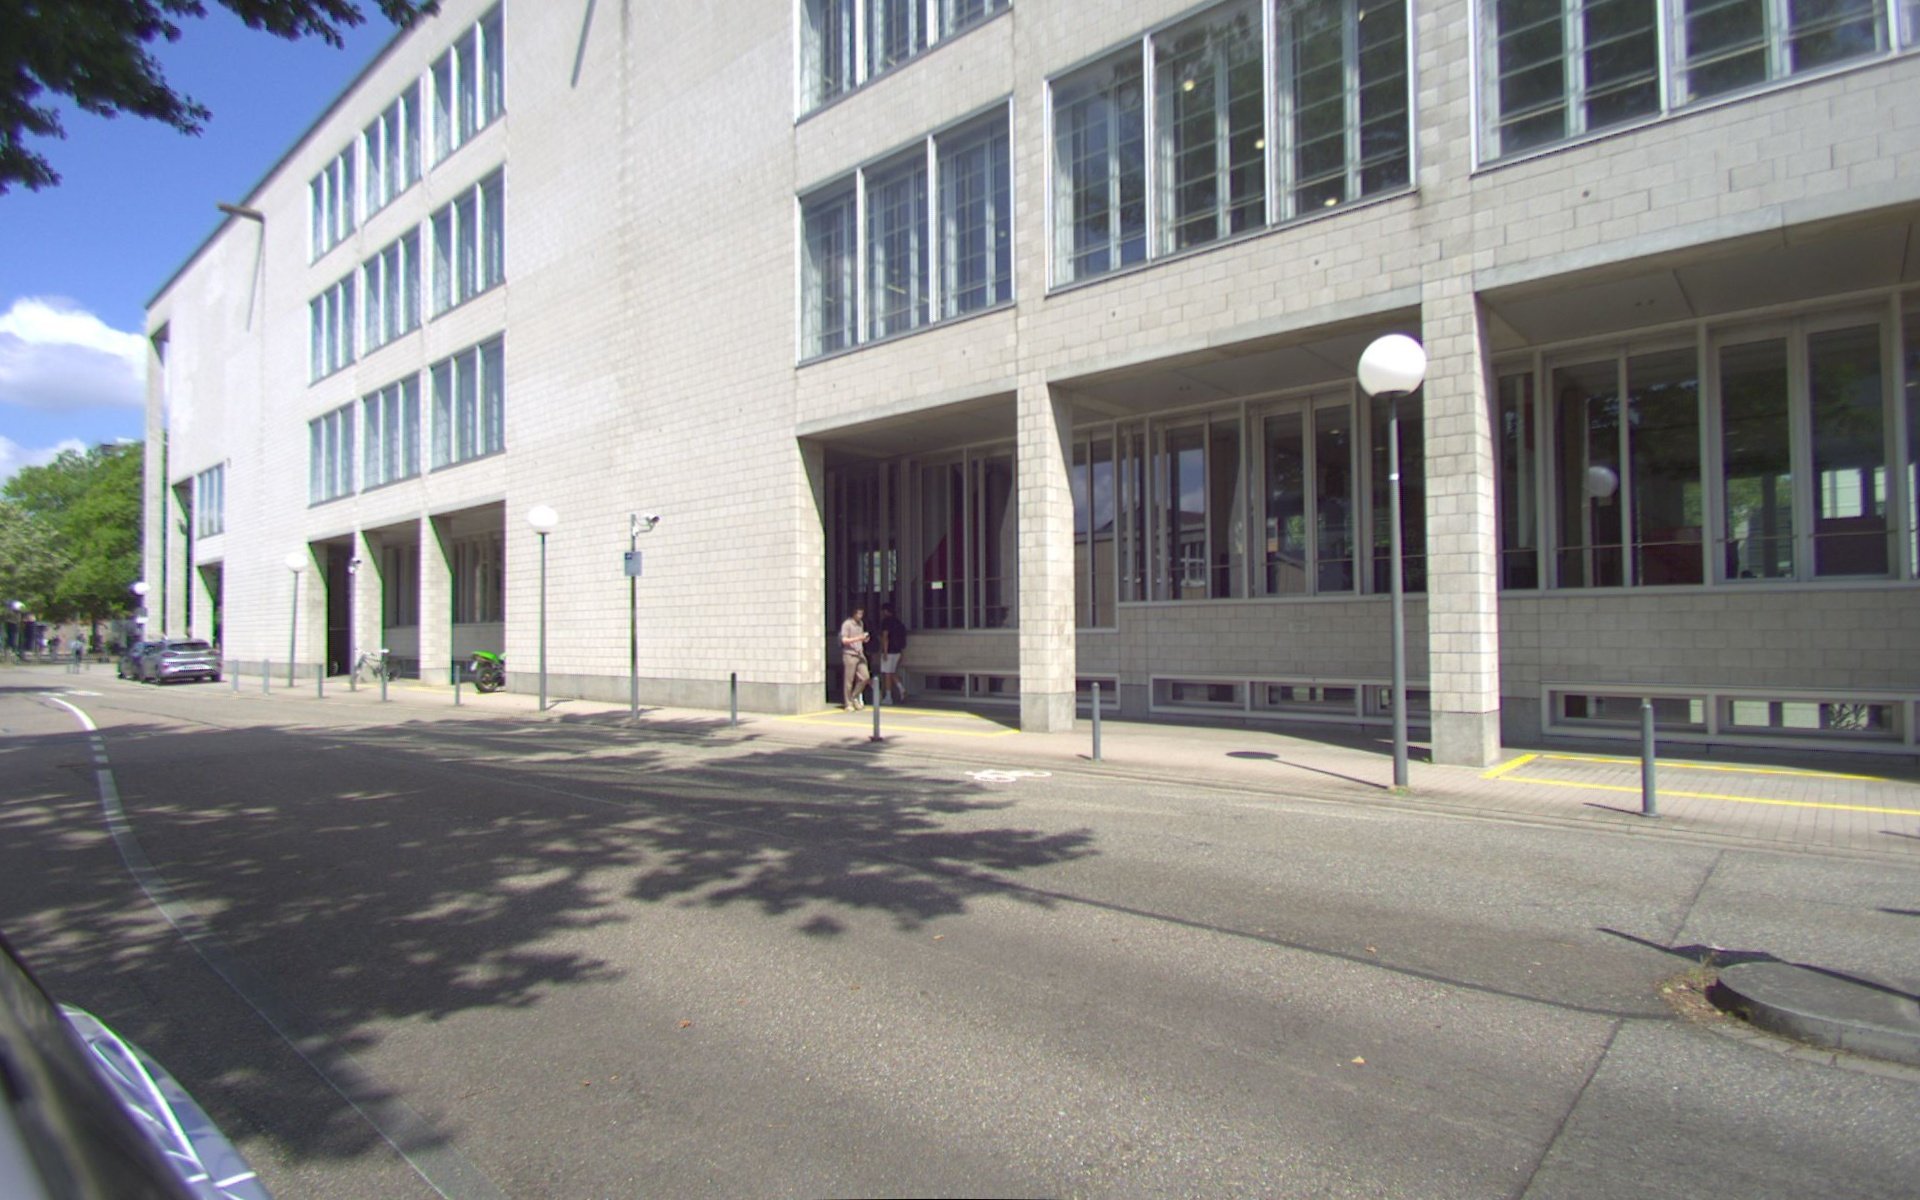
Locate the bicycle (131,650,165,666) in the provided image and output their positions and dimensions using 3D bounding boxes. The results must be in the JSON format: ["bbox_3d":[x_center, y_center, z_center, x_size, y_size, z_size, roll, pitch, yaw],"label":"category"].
[{"bbox_3d":[-62.419,4.479,77.820,0.676,1.115,2.116,-1,-1,12],"label":"bicycle"}]

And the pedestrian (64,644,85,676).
[{"bbox_3d":[-50.680,3.442,57.931,0.749,1.738,1.237,-3,0,-38],"label":"pedestrian"}]

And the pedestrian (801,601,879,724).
[{"bbox_3d":[-2.076,1.060,17.477,1.065,2.029,0.839,-2,-3,39],"label":"pedestrian"}]

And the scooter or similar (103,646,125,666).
[{"bbox_3d":[-53.261,3.536,63.727,0.702,1.200,1.620,0,-1,-27],"label":"scooter or similar"}]

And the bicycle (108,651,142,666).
[{"bbox_3d":[-64.841,4.551,78.624,0.676,1.066,2.116,-1,-1,12],"label":"bicycle"}]

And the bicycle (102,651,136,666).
[{"bbox_3d":[-65.506,4.560,78.811,0.616,1.066,2.116,-1,-1,12],"label":"bicycle"}]

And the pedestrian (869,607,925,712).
[{"bbox_3d":[-1.173,1.088,18.852,0.719,1.895,0.723,-3,-2,42],"label":"pedestrian"}]

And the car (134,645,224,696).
[{"bbox_3d":[-27.285,2.402,35.320,4.404,1.546,1.708,-2,0,42],"label":"car"}]

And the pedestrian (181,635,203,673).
[{"bbox_3d":[-41.621,2.908,54.858,1.080,2.029,0.745,-3,-2,41],"label":"pedestrian"}]

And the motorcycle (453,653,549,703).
[{"bbox_3d":[-11.468,1.918,25.369,0.772,1.146,2.149,-2,-2,31],"label":"motorcycle"}]

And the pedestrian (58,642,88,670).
[{"bbox_3d":[-60.796,3.854,69.402,1.369,1.838,1.382,-3,-2,41],"label":"pedestrian"}]

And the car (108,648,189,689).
[{"bbox_3d":[-31.208,2.593,38.869,4.663,1.434,1.708,-3,-2,42],"label":"car"}]

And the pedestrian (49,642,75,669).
[{"bbox_3d":[-71.544,4.409,80.589,1.369,2.029,1.382,-3,-2,41],"label":"pedestrian"}]

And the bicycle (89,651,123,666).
[{"bbox_3d":[-66.824,4.541,79.183,0.616,1.066,2.116,-1,-1,12],"label":"bicycle"}]

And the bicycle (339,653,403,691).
[{"bbox_3d":[-18.306,2.227,31.464,0.607,1.095,1.624,-2,-2,36],"label":"bicycle"}]

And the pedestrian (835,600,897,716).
[{"bbox_3d":[-1.698,1.033,18.275,0.829,2.029,0.691,-3,-2,42],"label":"pedestrian"}]

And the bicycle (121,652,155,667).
[{"bbox_3d":[-63.386,4.548,78.044,0.676,1.066,2.116,-1,-1,12],"label":"bicycle"}]
